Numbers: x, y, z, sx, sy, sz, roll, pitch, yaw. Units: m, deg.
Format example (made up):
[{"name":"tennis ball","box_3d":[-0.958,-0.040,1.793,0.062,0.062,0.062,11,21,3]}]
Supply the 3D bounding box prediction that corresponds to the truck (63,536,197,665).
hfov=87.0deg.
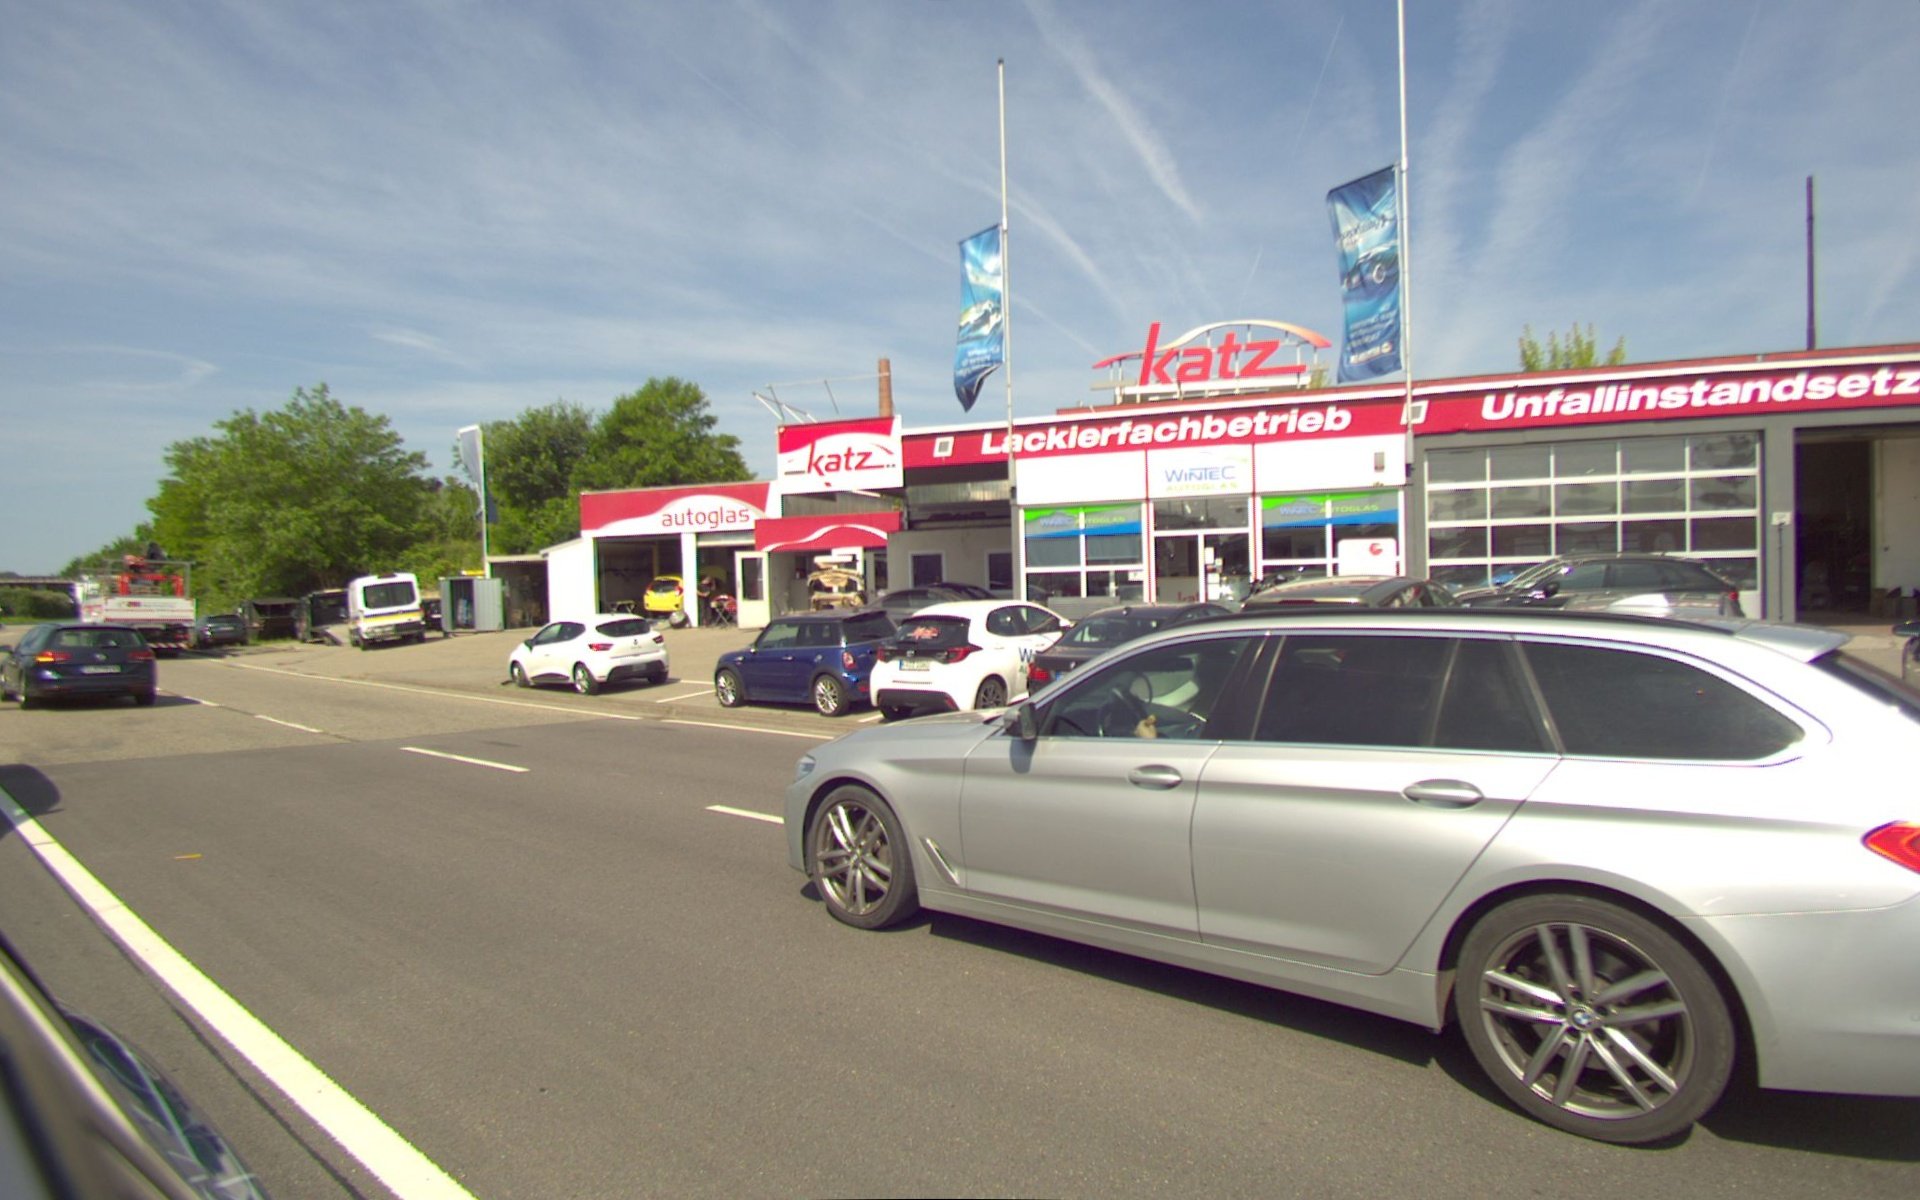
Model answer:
[{"name":"truck","box_3d":[-31.571,0.134,38.283,2.922,4.241,10.653,1,-2,-44]}]

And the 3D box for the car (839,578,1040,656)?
[{"name":"car","box_3d":[-0.460,0.403,24.076,4.360,1.515,1.849,-3,2,18]}]

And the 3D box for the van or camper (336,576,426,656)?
[{"name":"van or camper","box_3d":[-21.202,0.530,36.921,2.126,2.517,5.965,-6,3,-35]}]

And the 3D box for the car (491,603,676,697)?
[{"name":"car","box_3d":[-7.520,0.919,20.058,3.999,1.630,1.760,-1,1,42]}]

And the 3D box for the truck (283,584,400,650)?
[{"name":"truck","box_3d":[-26.394,0.685,42.980,2.304,2.313,8.811,-8,5,-43]}]

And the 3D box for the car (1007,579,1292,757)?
[{"name":"car","box_3d":[2.381,0.657,12.001,1.790,1.536,3.674,-1,4,38]}]

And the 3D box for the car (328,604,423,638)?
[{"name":"car","box_3d":[-28.423,0.989,49.276,1.711,1.522,3.631,-1,1,32]}]

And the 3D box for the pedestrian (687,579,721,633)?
[{"name":"pedestrian","box_3d":[-8.595,0.189,33.995,0.895,1.775,0.714,0,1,44]}]

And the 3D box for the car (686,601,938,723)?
[{"name":"car","box_3d":[-2.352,0.862,15.597,3.781,1.504,1.761,-1,4,42]}]

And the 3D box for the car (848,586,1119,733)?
[{"name":"car","box_3d":[0.453,0.705,14.043,1.844,1.536,3.761,-1,3,38]}]

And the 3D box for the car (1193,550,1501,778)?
[{"name":"car","box_3d":[4.136,0.474,10.445,1.805,1.729,3.849,-1,4,39]}]

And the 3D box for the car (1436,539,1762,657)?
[{"name":"car","box_3d":[10.219,-0.072,16.564,4.089,1.686,1.820,0,6,15]}]

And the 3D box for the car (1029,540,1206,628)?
[{"name":"car","box_3d":[3.561,-0.377,22.653,3.727,1.772,1.696,-2,3,16]}]

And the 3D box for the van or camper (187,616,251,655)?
[{"name":"van or camper","box_3d":[-32.668,1.518,44.570,1.621,1.535,4.470,-3,1,-44]}]

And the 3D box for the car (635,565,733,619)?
[{"name":"car","box_3d":[-10.131,-0.319,37.447,1.725,1.737,3.650,-1,3,18]}]

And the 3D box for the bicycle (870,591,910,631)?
[{"name":"bicycle","box_3d":[-2.004,0.303,29.312,0.412,0.978,1.987,-1,5,19]}]

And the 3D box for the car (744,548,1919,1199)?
[{"name":"car","box_3d":[1.322,0.671,4.286,4.779,1.532,1.889,-1,0,41]}]

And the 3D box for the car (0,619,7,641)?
[{"name":"car","box_3d":[-70.645,2.151,71.704,1.792,1.571,4.374,-1,-1,9]}]

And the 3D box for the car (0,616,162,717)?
[{"name":"car","box_3d":[-15.867,1.090,18.024,4.384,1.571,1.788,-1,-1,40]}]

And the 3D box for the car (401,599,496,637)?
[{"name":"car","box_3d":[-22.893,0.793,45.451,1.725,1.541,3.650,-1,1,18]}]

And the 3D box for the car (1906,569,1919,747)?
[{"name":"car","box_3d":[8.371,0.616,7.426,1.797,1.495,4.257,-1,4,40]}]

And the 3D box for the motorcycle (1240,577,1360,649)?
[{"name":"motorcycle","box_3d":[6.259,0.239,18.672,2.039,1.271,0.767,-1,0,20]}]

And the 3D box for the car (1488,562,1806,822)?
[{"name":"car","box_3d":[6.079,0.557,8.849,1.834,1.495,4.238,-1,4,38]}]
